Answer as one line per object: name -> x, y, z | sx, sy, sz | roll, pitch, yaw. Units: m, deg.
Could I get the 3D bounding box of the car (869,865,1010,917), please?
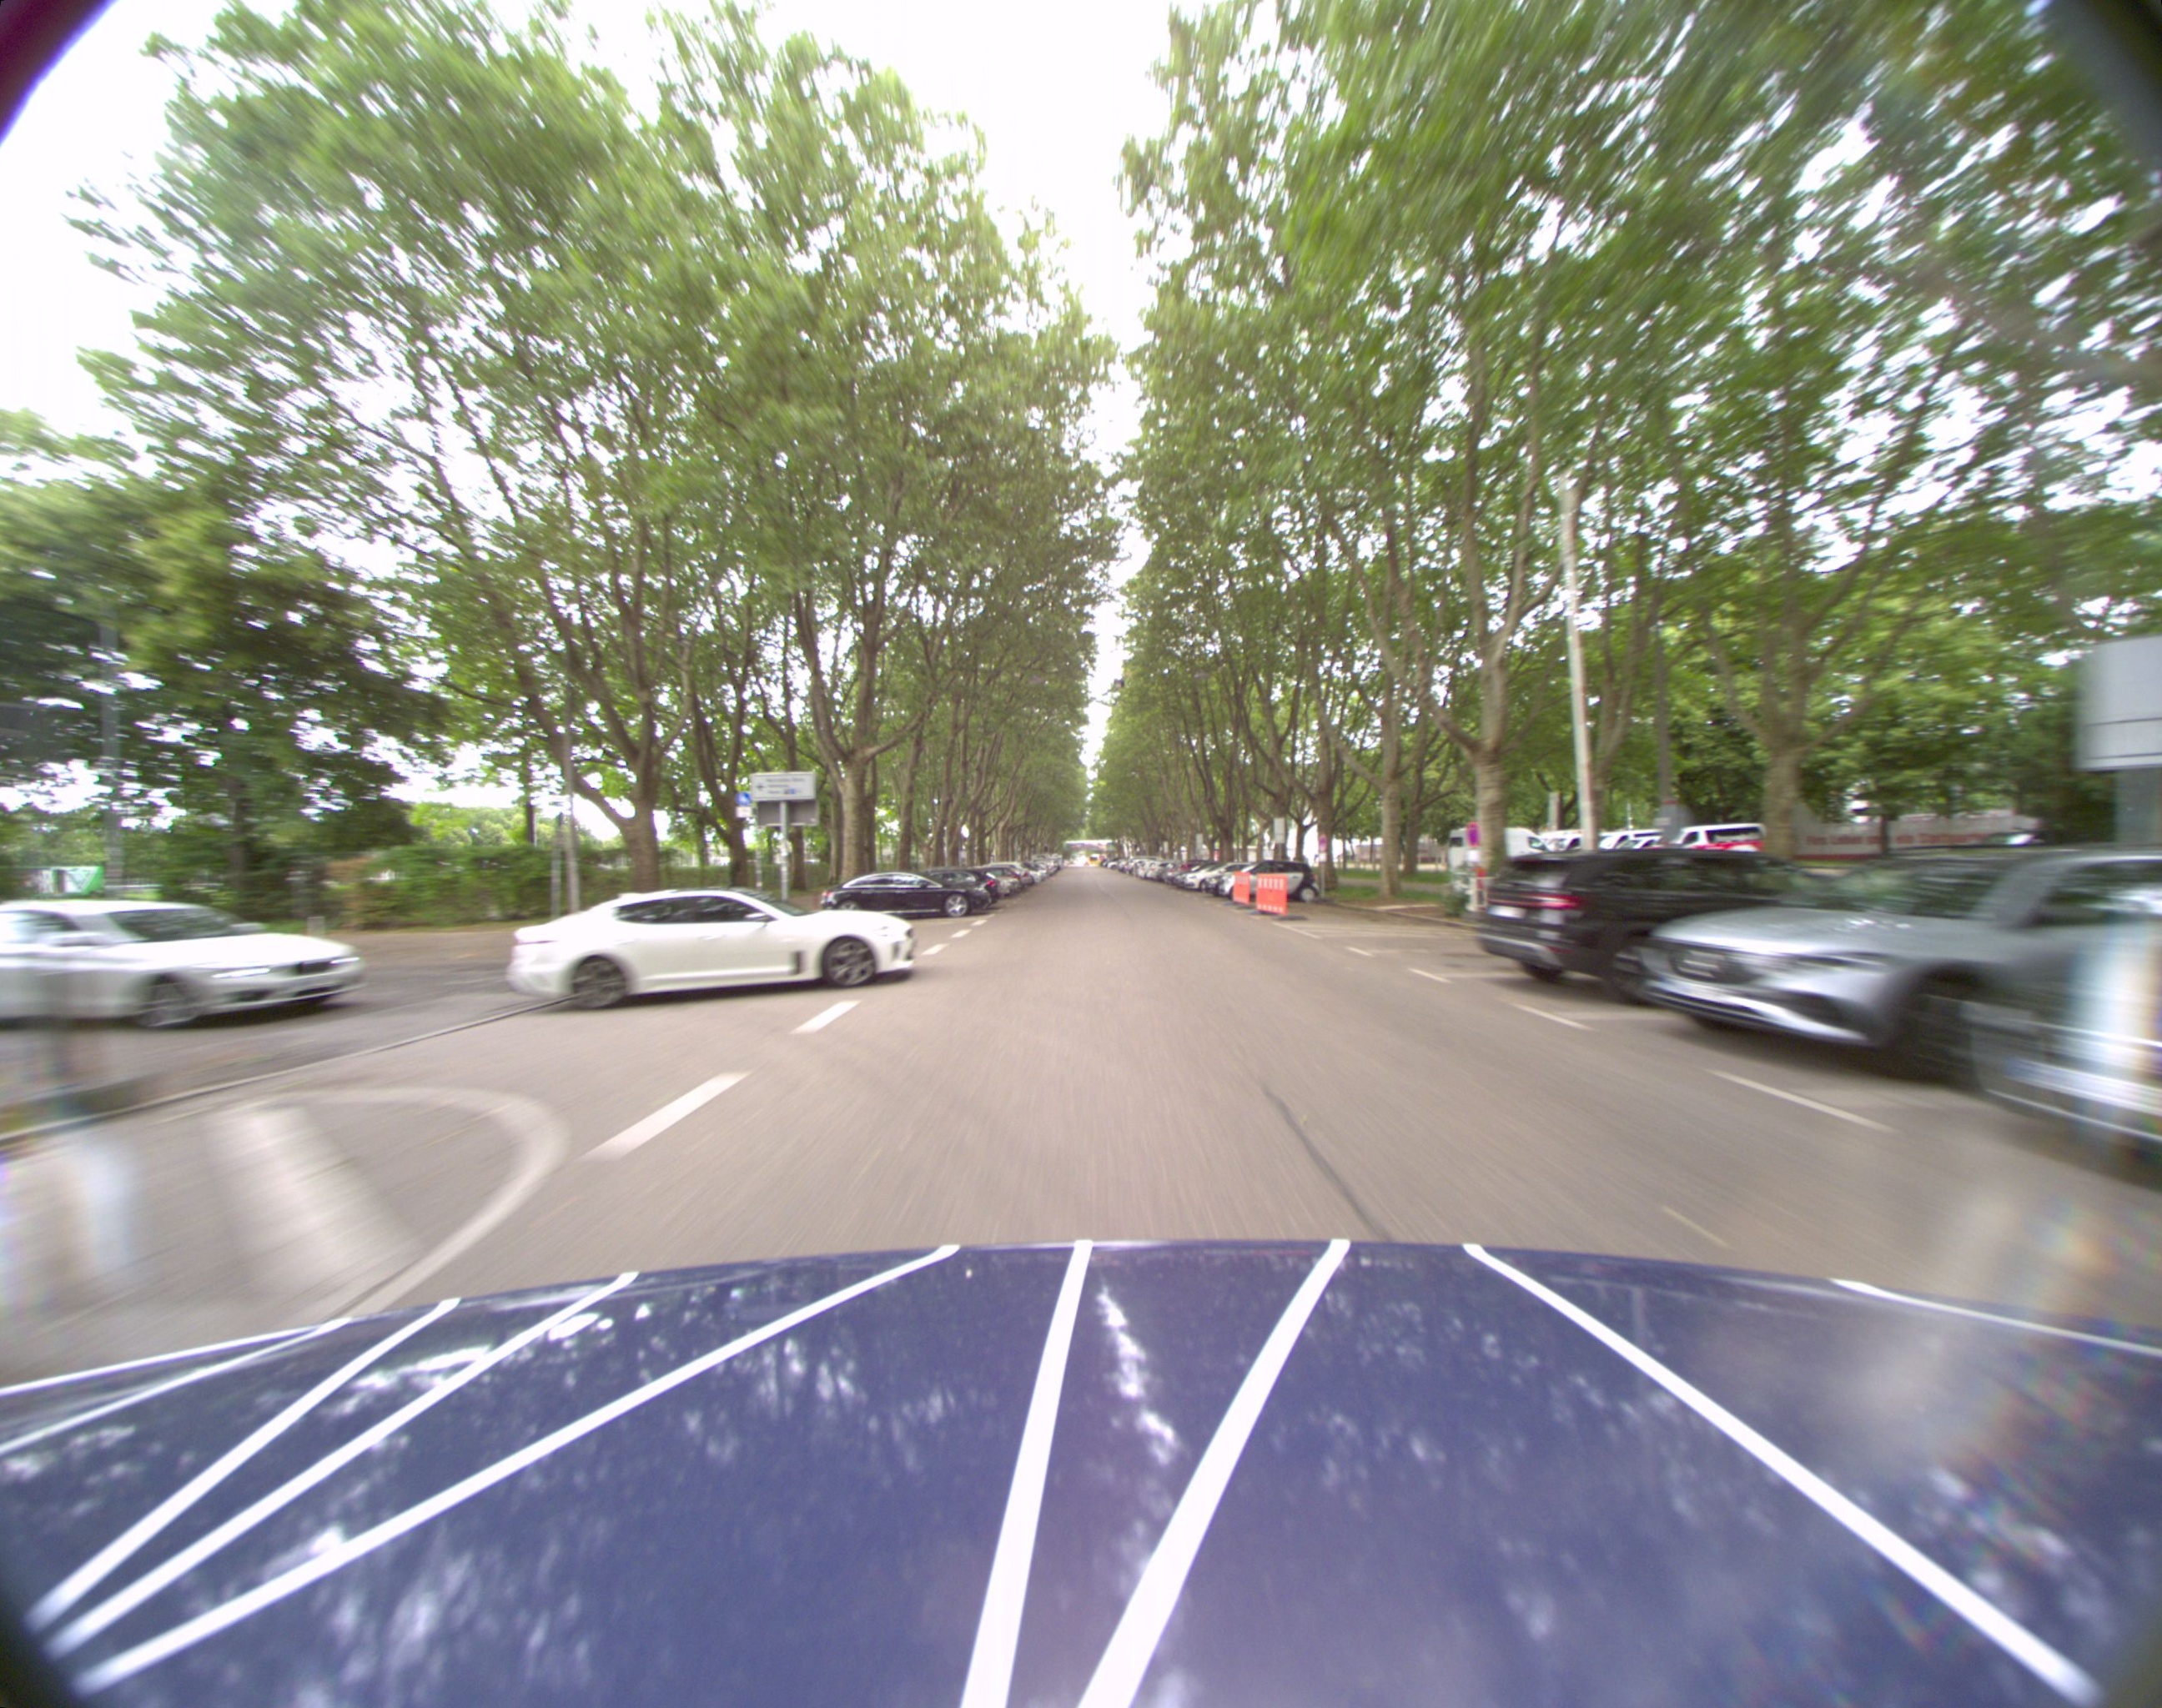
car -> -4.680, 1.205, 25.651 | 4.383, 1.469, 1.999 | -2, 1, -2

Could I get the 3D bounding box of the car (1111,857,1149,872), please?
car -> 5.364, 1.121, 83.177 | 3.997, 1.422, 2.001 | -2, -2, -1

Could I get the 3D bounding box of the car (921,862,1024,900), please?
car -> -4.750, 1.169, 33.547 | 4.097, 1.516, 1.825 | -2, 0, 9

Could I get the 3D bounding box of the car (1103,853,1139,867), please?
car -> 5.691, 0.897, 108.313 | 4.919, 1.816, 2.000 | -2, -2, -3

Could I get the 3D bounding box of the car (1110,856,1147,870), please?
car -> 5.469, 1.095, 88.333 | 3.999, 1.422, 2.000 | -2, -2, -6

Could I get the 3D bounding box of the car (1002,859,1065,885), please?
car -> -3.774, 1.439, 60.797 | 4.674, 1.740, 2.001 | -4, 0, 5

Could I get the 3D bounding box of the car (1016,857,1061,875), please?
car -> -4.759, 1.364, 85.909 | 4.674, 1.740, 2.001 | -4, 0, 5

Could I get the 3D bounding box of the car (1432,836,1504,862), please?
car -> 34.040, -0.440, 66.863 | 5.266, 2.130, 1.999 | -2, 1, -2

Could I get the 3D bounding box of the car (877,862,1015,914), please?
car -> -4.889, 1.227, 27.996 | 4.676, 1.514, 2.000 | -4, 0, -2

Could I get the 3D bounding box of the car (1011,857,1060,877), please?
car -> -4.666, 1.296, 77.801 | 4.674, 1.740, 2.001 | -4, 0, 5

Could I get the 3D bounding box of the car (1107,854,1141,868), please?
car -> 6.569, 1.065, 116.171 | 4.919, 1.816, 2.000 | -2, -2, -3

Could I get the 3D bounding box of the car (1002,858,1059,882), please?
car -> -4.458, 1.408, 67.806 | 4.674, 1.740, 2.001 | -4, 0, 5

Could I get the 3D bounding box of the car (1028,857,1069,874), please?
car -> -3.929, 1.361, 92.133 | 4.674, 1.740, 2.001 | -4, 0, 5

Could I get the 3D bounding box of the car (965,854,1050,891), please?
car -> -4.386, 1.102, 45.835 | 4.674, 1.891, 2.001 | -4, 0, 5

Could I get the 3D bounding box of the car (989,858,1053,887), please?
car -> -4.202, 1.262, 53.531 | 4.116, 1.740, 2.001 | -4, 0, 5

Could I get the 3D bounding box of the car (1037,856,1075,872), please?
car -> -3.241, 1.245, 98.677 | 4.674, 1.740, 2.001 | -4, 0, 5

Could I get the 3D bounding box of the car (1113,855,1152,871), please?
car -> 6.825, 1.227, 101.304 | 4.919, 1.816, 2.000 | -2, -2, -3

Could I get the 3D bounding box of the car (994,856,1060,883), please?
car -> -4.108, 1.195, 58.321 | 4.674, 1.740, 2.001 | -4, 0, 5

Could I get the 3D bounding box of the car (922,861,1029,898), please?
car -> -5.015, 1.229, 36.509 | 4.673, 1.514, 1.905 | -3, 0, 6

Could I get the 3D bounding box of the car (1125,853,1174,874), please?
car -> 6.488, 0.895, 72.292 | 4.492, 1.740, 2.001 | -4, 0, 5

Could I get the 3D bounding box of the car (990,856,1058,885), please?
car -> -4.186, 1.197, 56.131 | 4.674, 1.740, 2.001 | -4, 0, 5

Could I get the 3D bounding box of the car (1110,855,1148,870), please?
car -> 6.632, 1.158, 104.615 | 4.919, 1.816, 2.000 | -2, -2, -3

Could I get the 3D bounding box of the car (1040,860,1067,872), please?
car -> -4.118, 1.756, 113.884 | 3.998, 1.641, 1.999 | -2, 1, -4

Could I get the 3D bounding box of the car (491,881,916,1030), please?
car -> -4.679, 1.229, 10.221 | 4.679, 1.375, 1.998 | -3, 1, -11

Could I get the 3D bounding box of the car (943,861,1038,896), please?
car -> -4.798, 1.289, 40.880 | 4.674, 1.514, 2.001 | -4, 0, 5

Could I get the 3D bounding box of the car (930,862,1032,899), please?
car -> -5.030, 1.336, 38.583 | 4.673, 1.514, 2.001 | -4, 0, 6

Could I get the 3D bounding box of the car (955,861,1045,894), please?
car -> -4.562, 1.321, 43.247 | 4.674, 1.514, 2.001 | -4, 0, 5

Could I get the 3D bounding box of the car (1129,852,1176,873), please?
car -> 7.090, 0.841, 75.738 | 4.492, 1.740, 2.001 | -4, 0, 5

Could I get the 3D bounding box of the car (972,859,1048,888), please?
car -> -4.733, 1.290, 50.772 | 4.674, 1.602, 2.001 | -4, 0, 5

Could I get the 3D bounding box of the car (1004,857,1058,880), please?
car -> -4.617, 1.349, 71.162 | 4.674, 1.740, 2.001 | -4, 0, 5

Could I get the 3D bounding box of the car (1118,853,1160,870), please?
car -> 7.109, 0.972, 93.122 | 4.919, 1.816, 2.000 | -2, -2, -3
